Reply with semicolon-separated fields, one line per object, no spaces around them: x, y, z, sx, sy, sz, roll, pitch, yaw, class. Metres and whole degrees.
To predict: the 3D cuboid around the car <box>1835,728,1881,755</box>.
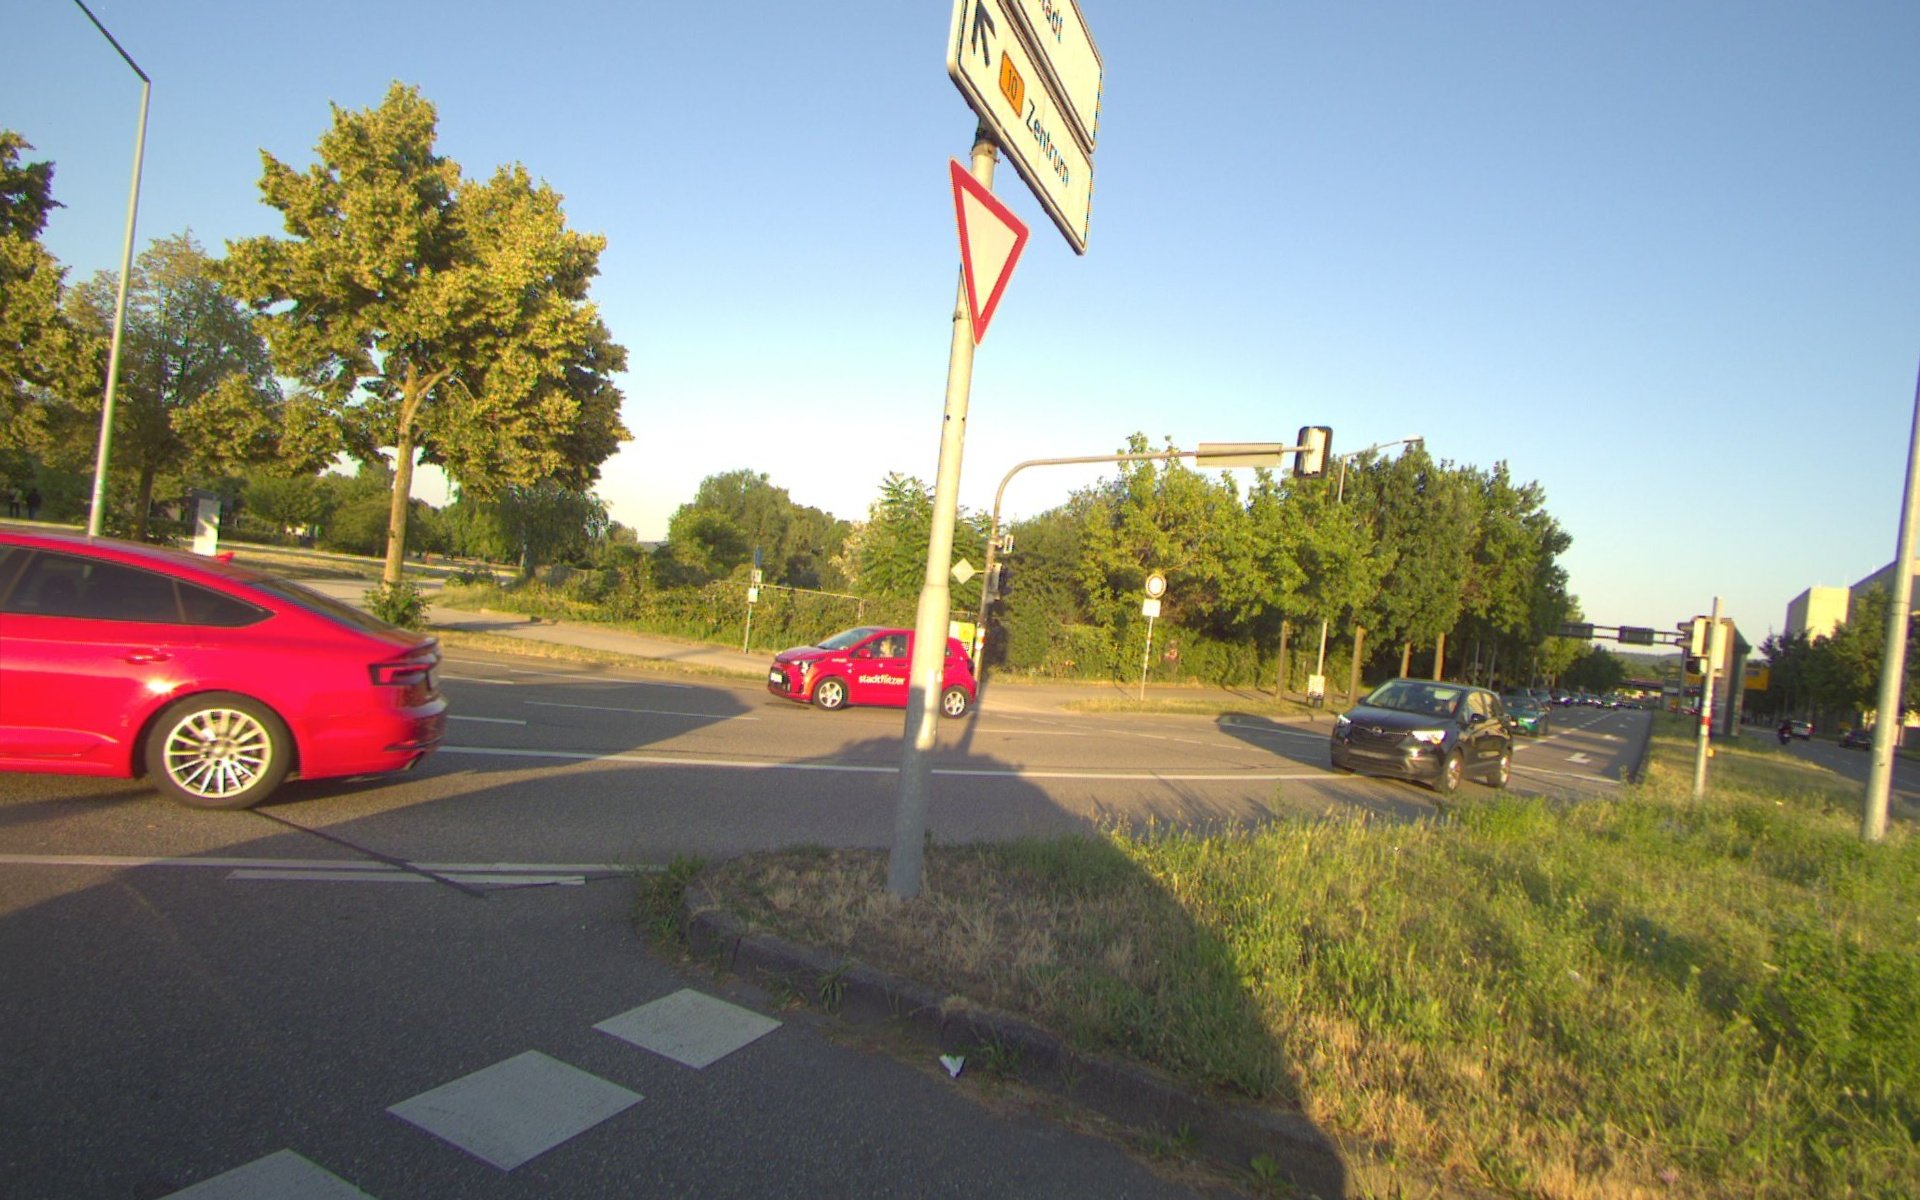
64.026;10.065;71.771;1.774;1.482;3.989;7;0;34;car

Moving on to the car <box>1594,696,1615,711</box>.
69.019;11.083;107.710;1.594;1.471;3.706;5;-2;35;car

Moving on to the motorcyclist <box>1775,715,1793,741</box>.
48.604;7.522;59.327;0.626;1.425;0.593;7;0;33;motorcyclist

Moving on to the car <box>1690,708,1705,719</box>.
128.117;19.763;174.793;1.789;1.544;4.124;7;0;34;car

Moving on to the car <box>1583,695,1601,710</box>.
76.454;12.411;121.702;1.594;1.471;3.706;5;-2;35;car

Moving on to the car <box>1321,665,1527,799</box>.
7.313;2.021;15.642;1.698;1.631;4.118;5;-2;41;car

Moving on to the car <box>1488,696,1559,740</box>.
21.228;4.413;37.804;1.847;1.324;4.128;5;-2;35;car

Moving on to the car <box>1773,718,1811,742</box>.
66.723;10.405;80.701;1.774;1.440;4.437;7;0;34;car

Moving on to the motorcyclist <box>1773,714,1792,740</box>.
48.955;7.570;59.880;0.677;1.433;0.713;7;0;33;motorcyclist

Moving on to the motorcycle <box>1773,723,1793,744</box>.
48.689;7.868;59.528;0.549;1.114;2.155;7;-1;33;motorcycle

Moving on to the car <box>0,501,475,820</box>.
-5.284;0.212;5.591;4.527;1.477;1.834;8;-2;-26;car

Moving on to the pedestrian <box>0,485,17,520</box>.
-47.271;-4.828;49.835;0.525;1.646;0.578;7;0;-20;pedestrian

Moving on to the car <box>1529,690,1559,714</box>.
45.373;7.938;78.150;1.594;1.536;3.707;7;-1;35;car

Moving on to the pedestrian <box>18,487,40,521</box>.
-46.807;-4.822;50.574;0.523;1.646;0.617;7;0;-23;pedestrian

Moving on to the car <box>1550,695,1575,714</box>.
55.578;9.657;92.833;1.594;1.536;3.706;5;-2;35;car

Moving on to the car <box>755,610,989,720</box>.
-1.506;1.148;17.584;3.597;1.500;1.713;8;-2;-33;car
